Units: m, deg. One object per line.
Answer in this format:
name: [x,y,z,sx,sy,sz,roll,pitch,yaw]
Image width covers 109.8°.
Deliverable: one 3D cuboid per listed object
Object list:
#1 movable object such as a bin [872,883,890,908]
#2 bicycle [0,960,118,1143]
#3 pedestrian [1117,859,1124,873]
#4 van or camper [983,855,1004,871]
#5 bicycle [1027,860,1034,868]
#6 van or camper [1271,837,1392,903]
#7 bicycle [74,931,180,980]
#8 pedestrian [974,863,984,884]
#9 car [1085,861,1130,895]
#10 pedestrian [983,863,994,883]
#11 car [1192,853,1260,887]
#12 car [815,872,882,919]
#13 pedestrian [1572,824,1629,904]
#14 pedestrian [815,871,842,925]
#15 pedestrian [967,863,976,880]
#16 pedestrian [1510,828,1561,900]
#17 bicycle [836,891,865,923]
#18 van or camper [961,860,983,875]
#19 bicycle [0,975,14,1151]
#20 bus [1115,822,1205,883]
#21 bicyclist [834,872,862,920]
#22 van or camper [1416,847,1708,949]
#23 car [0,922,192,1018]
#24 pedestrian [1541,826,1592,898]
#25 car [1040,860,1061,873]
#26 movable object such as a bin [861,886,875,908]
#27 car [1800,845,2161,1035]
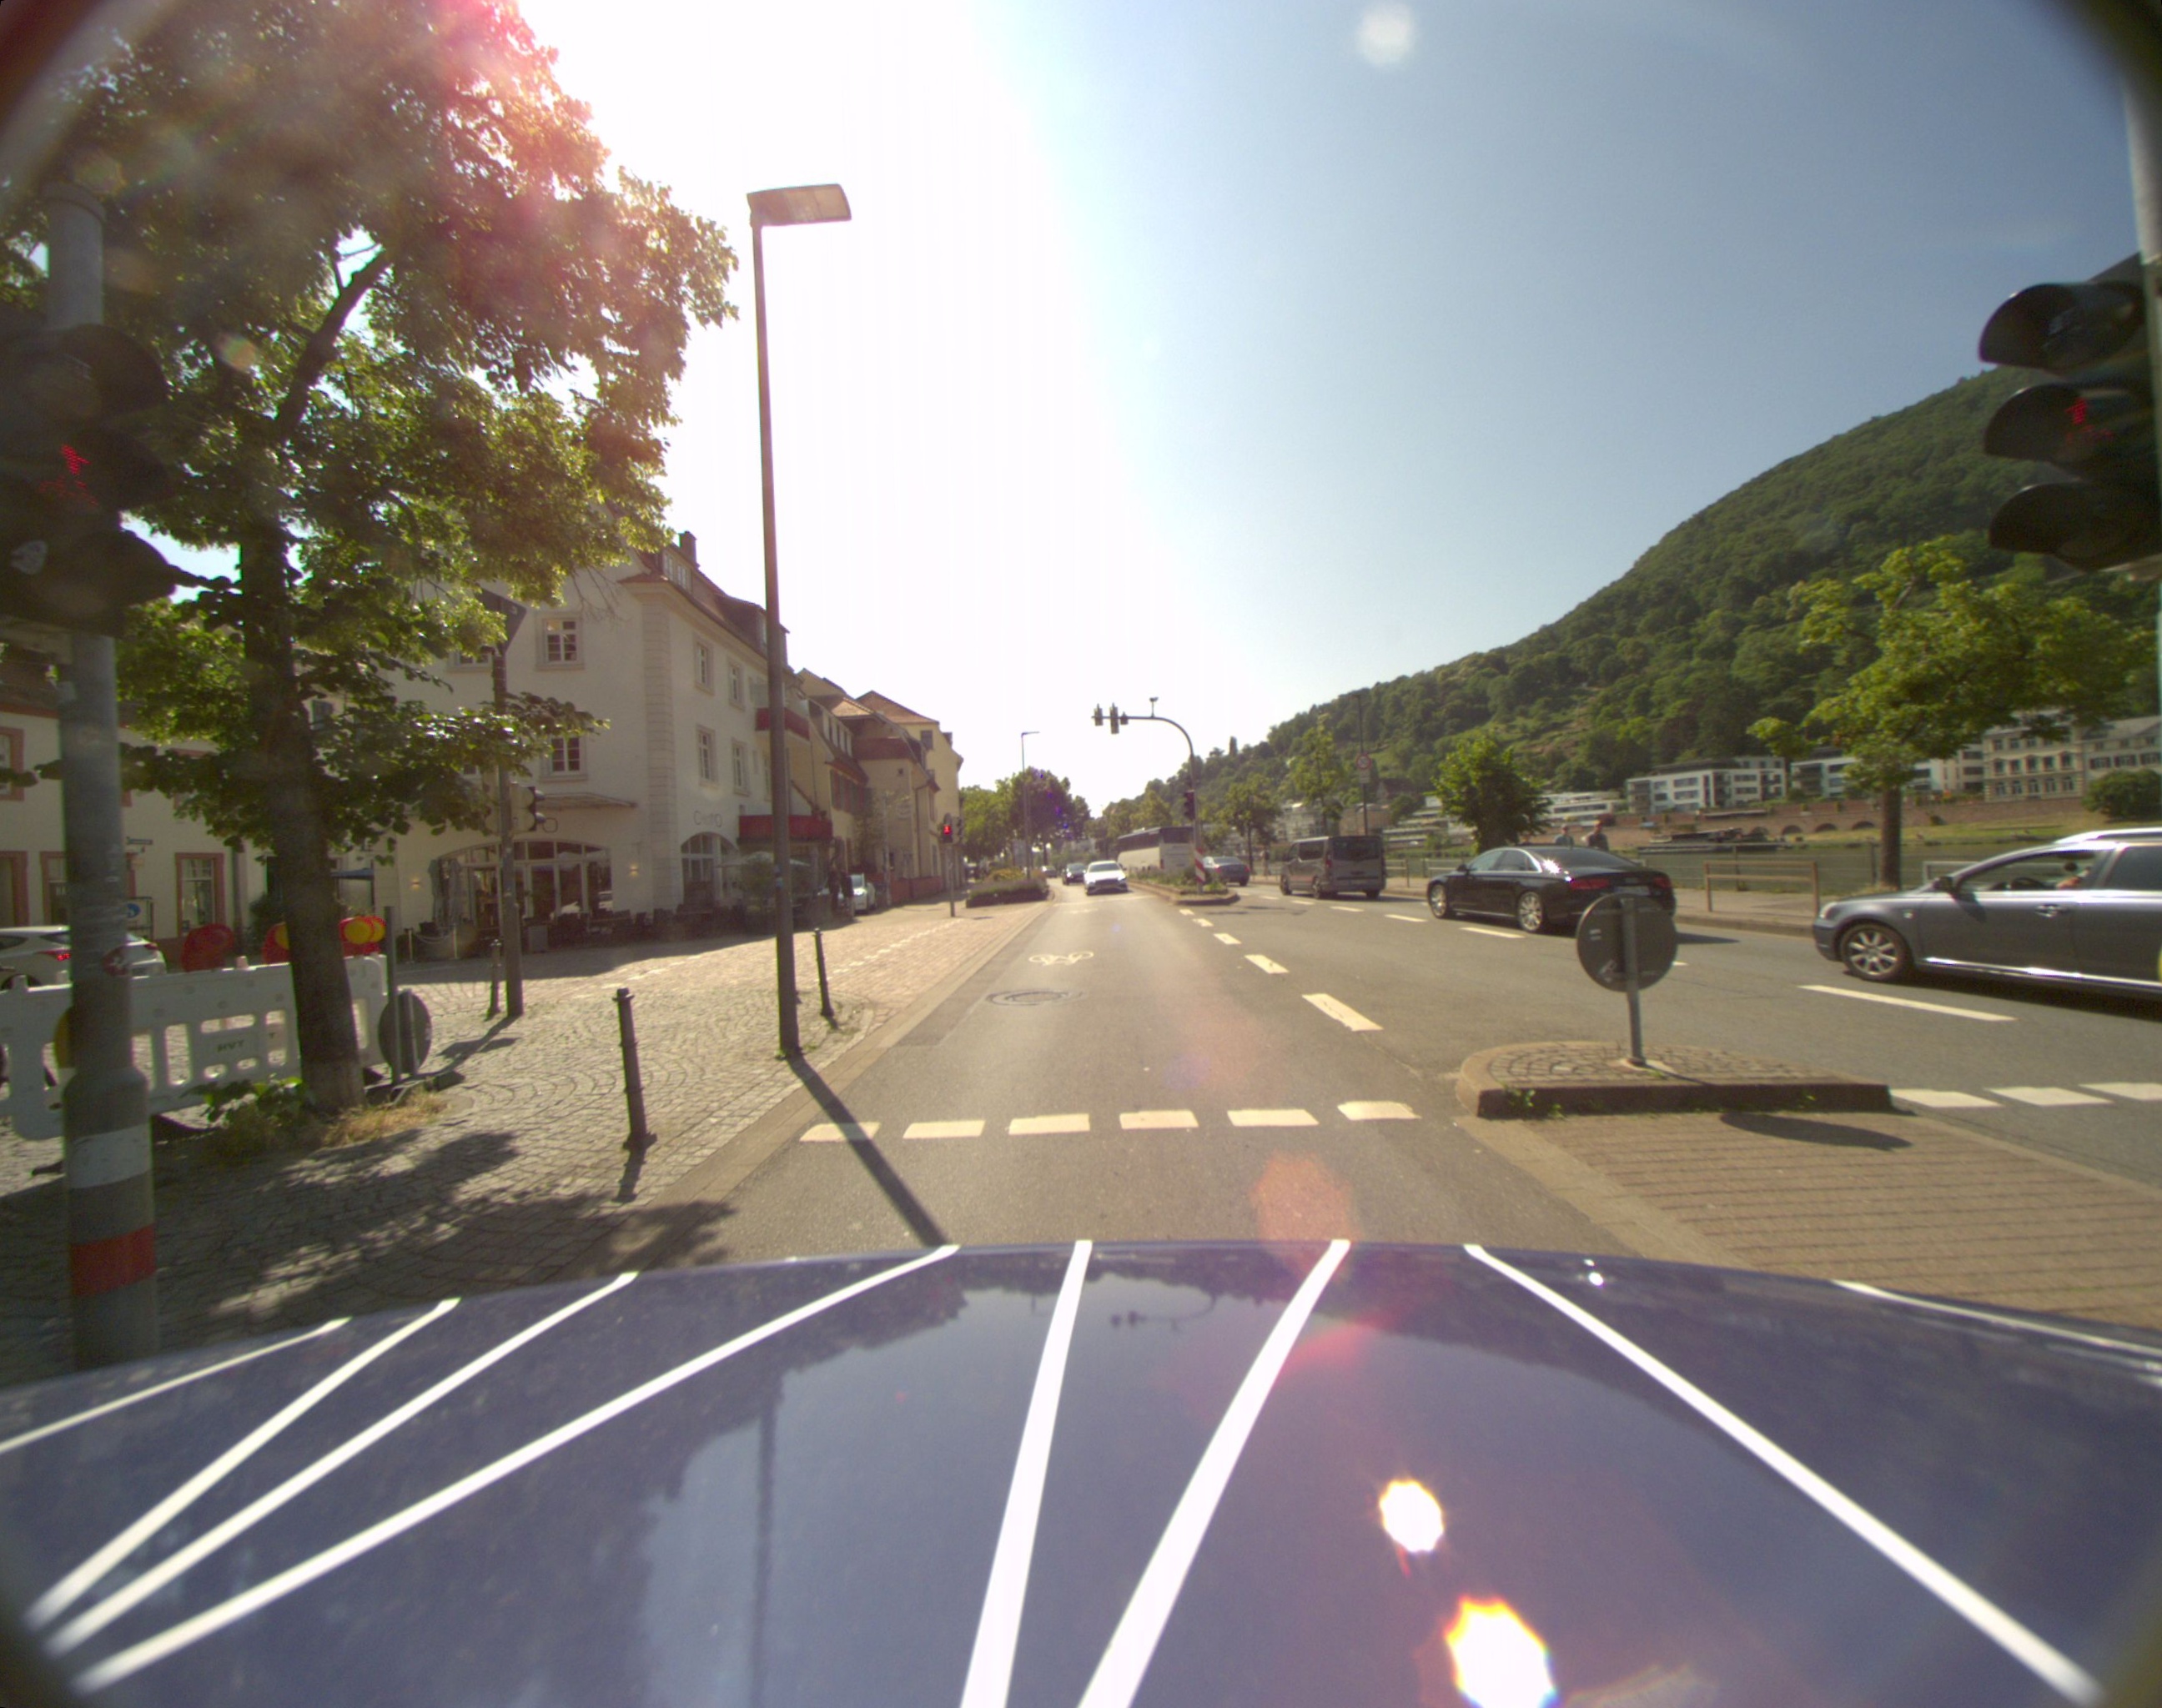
movable object such as a bin: [-8.933,1.869,33.950,0.642,1.061,0.364,-3,0,0]
bicycle: [-8.364,1.487,5.680,2.002,1.191,0.522,-5,0,11]
pedestrian: [4.856,1.450,93.375,0.696,1.606,0.663,-3,0,-9]
van or camper: [-14.388,1.487,124.634,2.095,2.542,7.083,-3,0,-16]
bicycle: [-7.577,1.519,113.391,0.714,1.161,1.894,-4,-1,-12]
van or camper: [7.978,0.489,24.814,1.999,1.862,5.178,-2,0,-3]
bicycle: [-26.951,2.854,21.496,1.880,1.185,0.639,-3,-1,-10]
pedestrian: [-8.538,1.633,63.547,0.740,1.688,0.933,-2,0,-9]
car: [1.200,1.039,34.608,1.875,1.415,4.745,-1,-1,2]
pedestrian: [-7.734,1.575,63.514,0.764,1.586,0.695,-3,0,-9]
car: [7.148,0.781,38.115,1.999,1.589,5.155,0,0,-5]
car: [-9.190,1.573,30.445,1.883,1.568,4.723,-3,0,-10]
pedestrian: [12.641,0.245,18.502,0.764,1.847,0.695,-5,0,-9]
pedestrian: [-8.856,1.526,26.637,0.764,1.847,0.609,-1,0,-9]
pedestrian: [-10.750,1.741,74.676,0.764,1.703,0.695,0,0,-13]
pedestrian: [11.929,0.258,19.945,0.764,1.794,0.695,-5,0,-9]
bicycle: [-7.894,1.795,26.059,0.752,0.958,1.780,-4,0,-12]
van or camper: [-17.778,2.200,123.767,2.441,2.271,6.196,-3,0,-17]
bicycle: [-8.442,1.507,5.176,2.015,1.191,0.522,-5,0,11]
bus: [5.038,-0.068,52.199,2.640,3.543,12.971,-3,0,-10]
bicyclist: [-7.930,1.414,25.898,0.769,1.574,1.088,-3,0,-15]
van or camper: [8.290,0.646,13.840,1.999,1.468,5.064,-2,0,-1]
car: [-19.187,2.147,13.649,3.999,1.446,1.833,-4,-2,-5]
pedestrian: [12.962,0.216,20.304,0.764,1.847,0.695,-5,0,-9]
car: [-3.623,1.428,88.797,1.820,1.419,4.307,-1,-1,-11]
movable object such as a bin: [-9.526,1.925,33.968,0.496,0.938,0.320,-3,0,0]
car: [8.912,0.626,6.068,1.957,1.400,4.569,0,0,-1]
